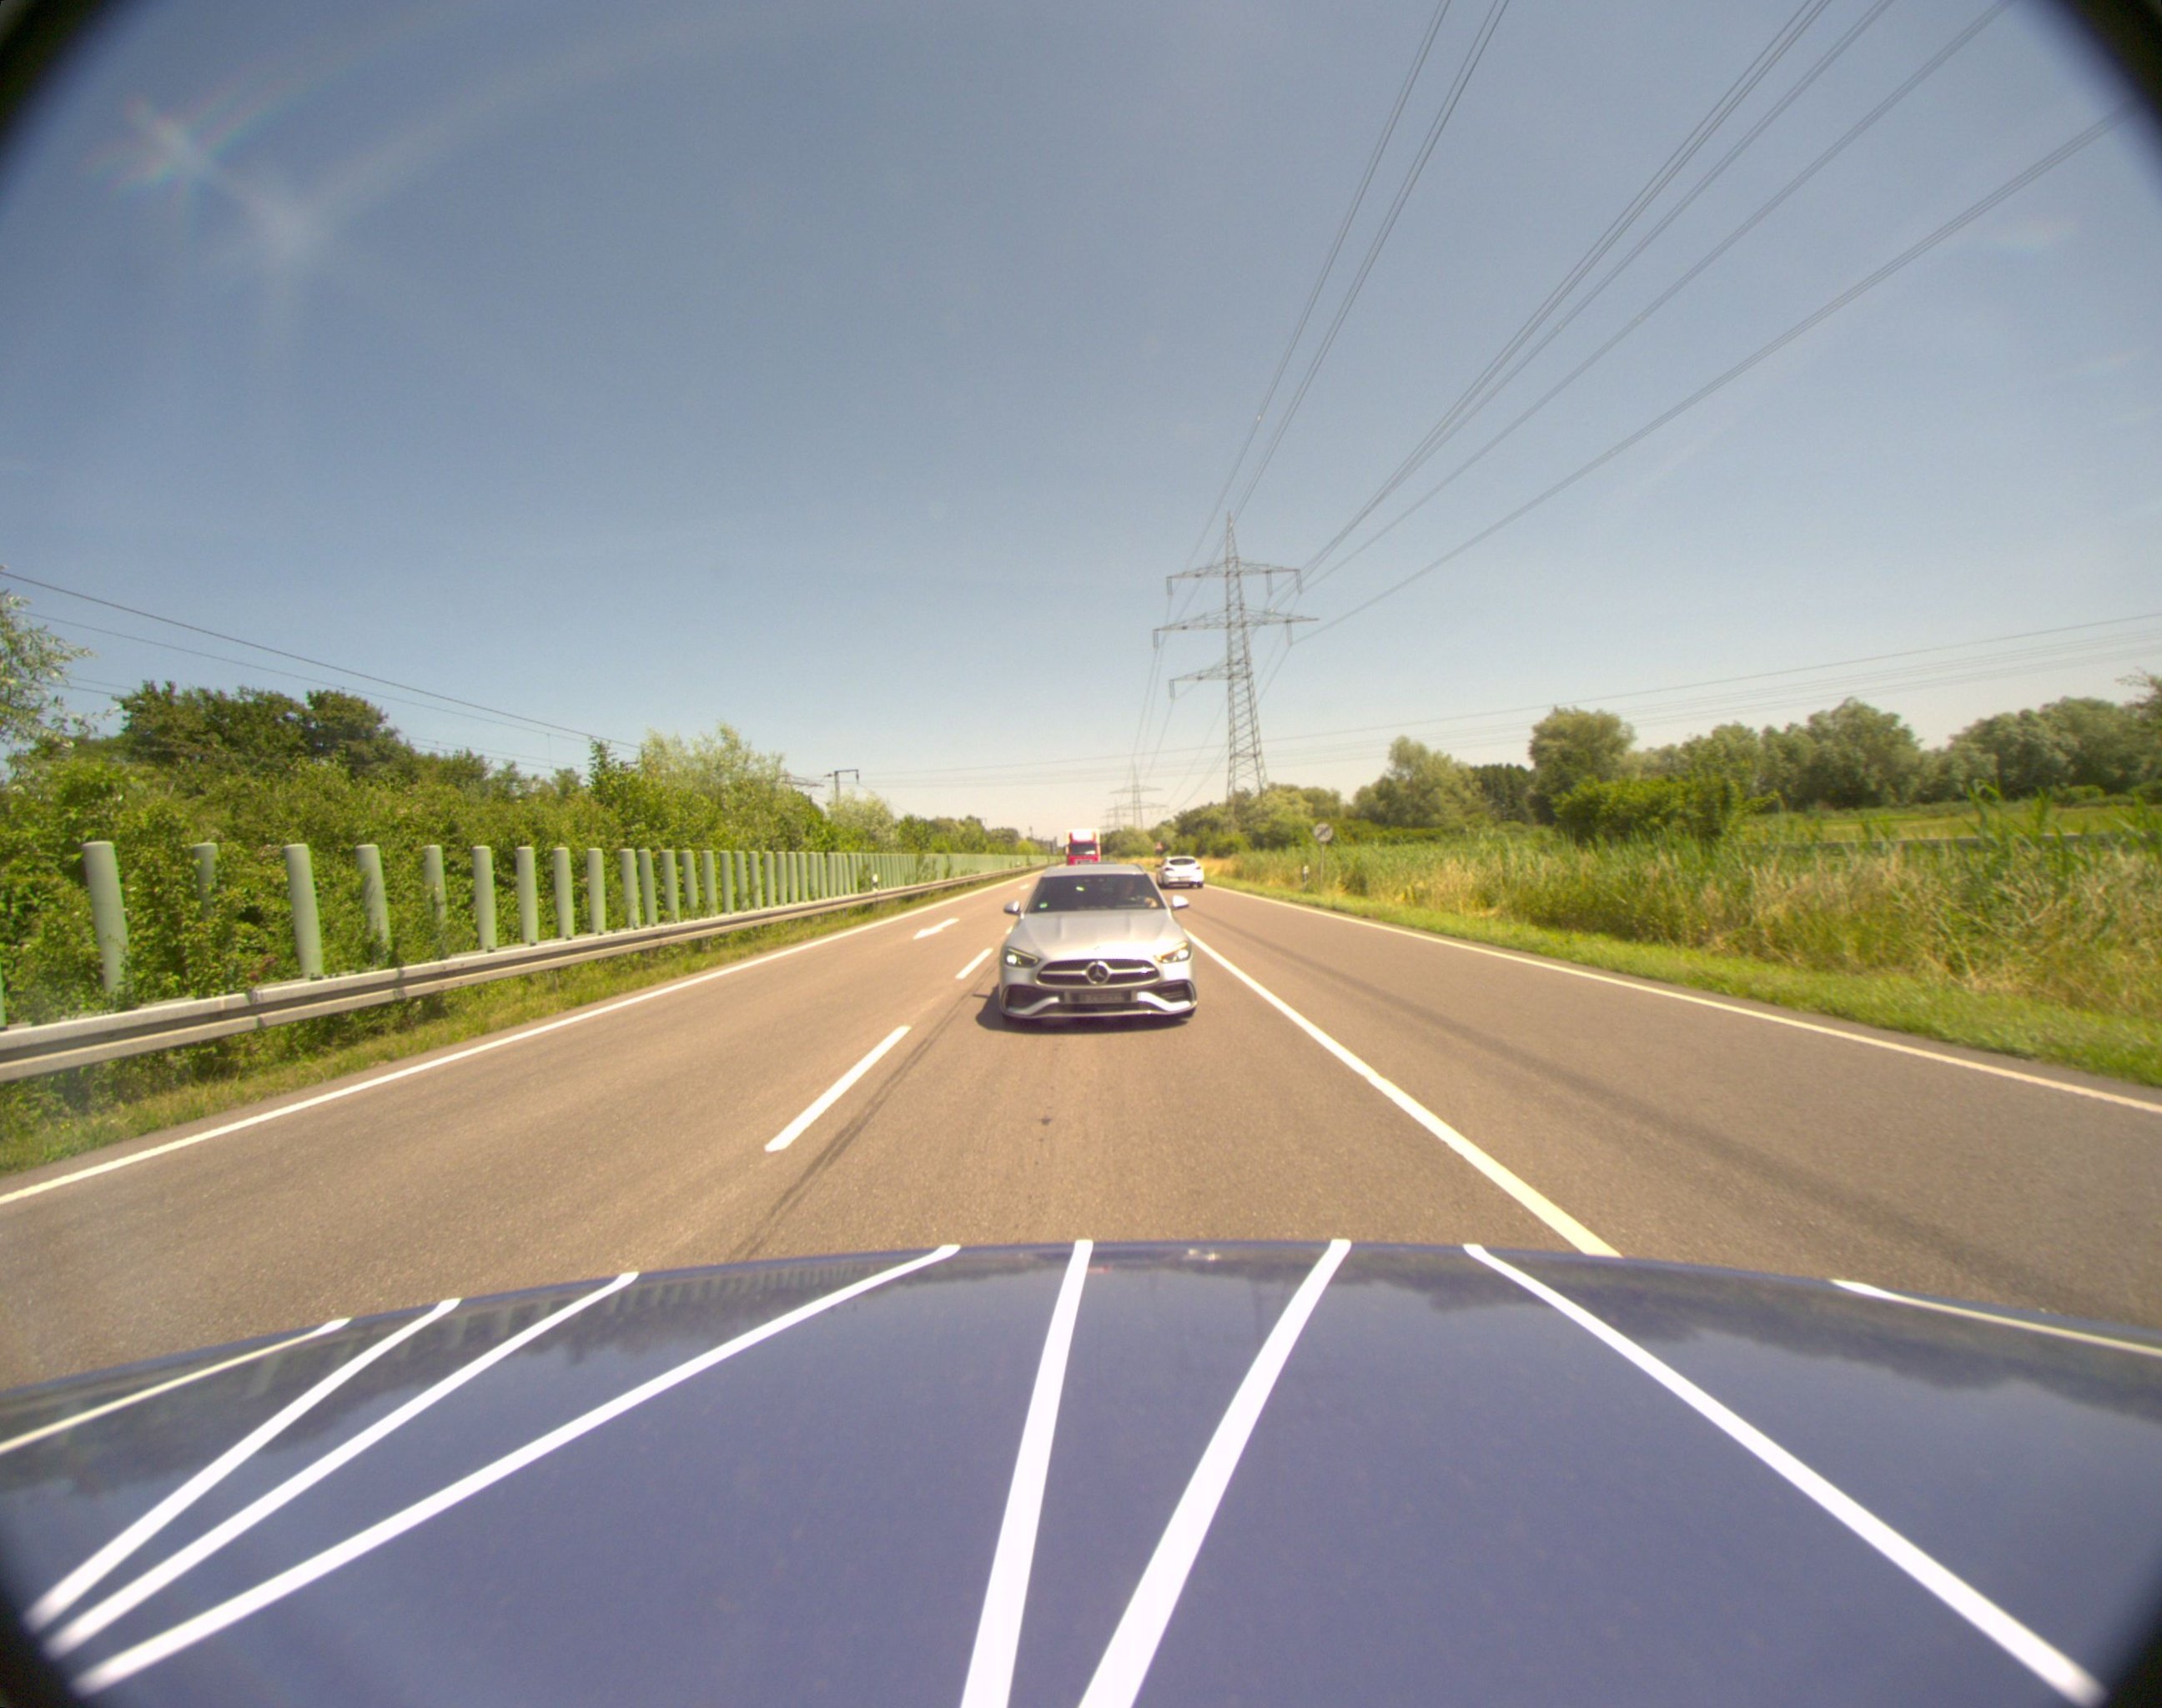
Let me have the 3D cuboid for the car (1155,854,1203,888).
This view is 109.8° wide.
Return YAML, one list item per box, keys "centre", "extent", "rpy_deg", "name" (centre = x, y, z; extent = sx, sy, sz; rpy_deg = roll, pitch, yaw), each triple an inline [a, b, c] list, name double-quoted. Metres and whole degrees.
- centre: [4.493, 0.759, 35.256]
  extent: [1.729, 1.432, 4.249]
  rpy_deg: [-2, 0, 1]
  name: "car"

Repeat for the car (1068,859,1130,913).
- centre: [0.565, 0.908, 23.379]
  extent: [1.698, 1.385, 4.468]
  rpy_deg: [-2, 0, 2]
  name: "car"

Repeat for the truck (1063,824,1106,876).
- centre: [0.289, -0.316, 59.008]
  extent: [2.907, 3.641, 7.156]
  rpy_deg: [-4, 0, 1]
  name: "truck"

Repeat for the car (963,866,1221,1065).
- centre: [0.126, 0.922, 8.261]
  extent: [1.998, 1.437, 4.467]
  rpy_deg: [-2, 0, 1]
  name: "car"
